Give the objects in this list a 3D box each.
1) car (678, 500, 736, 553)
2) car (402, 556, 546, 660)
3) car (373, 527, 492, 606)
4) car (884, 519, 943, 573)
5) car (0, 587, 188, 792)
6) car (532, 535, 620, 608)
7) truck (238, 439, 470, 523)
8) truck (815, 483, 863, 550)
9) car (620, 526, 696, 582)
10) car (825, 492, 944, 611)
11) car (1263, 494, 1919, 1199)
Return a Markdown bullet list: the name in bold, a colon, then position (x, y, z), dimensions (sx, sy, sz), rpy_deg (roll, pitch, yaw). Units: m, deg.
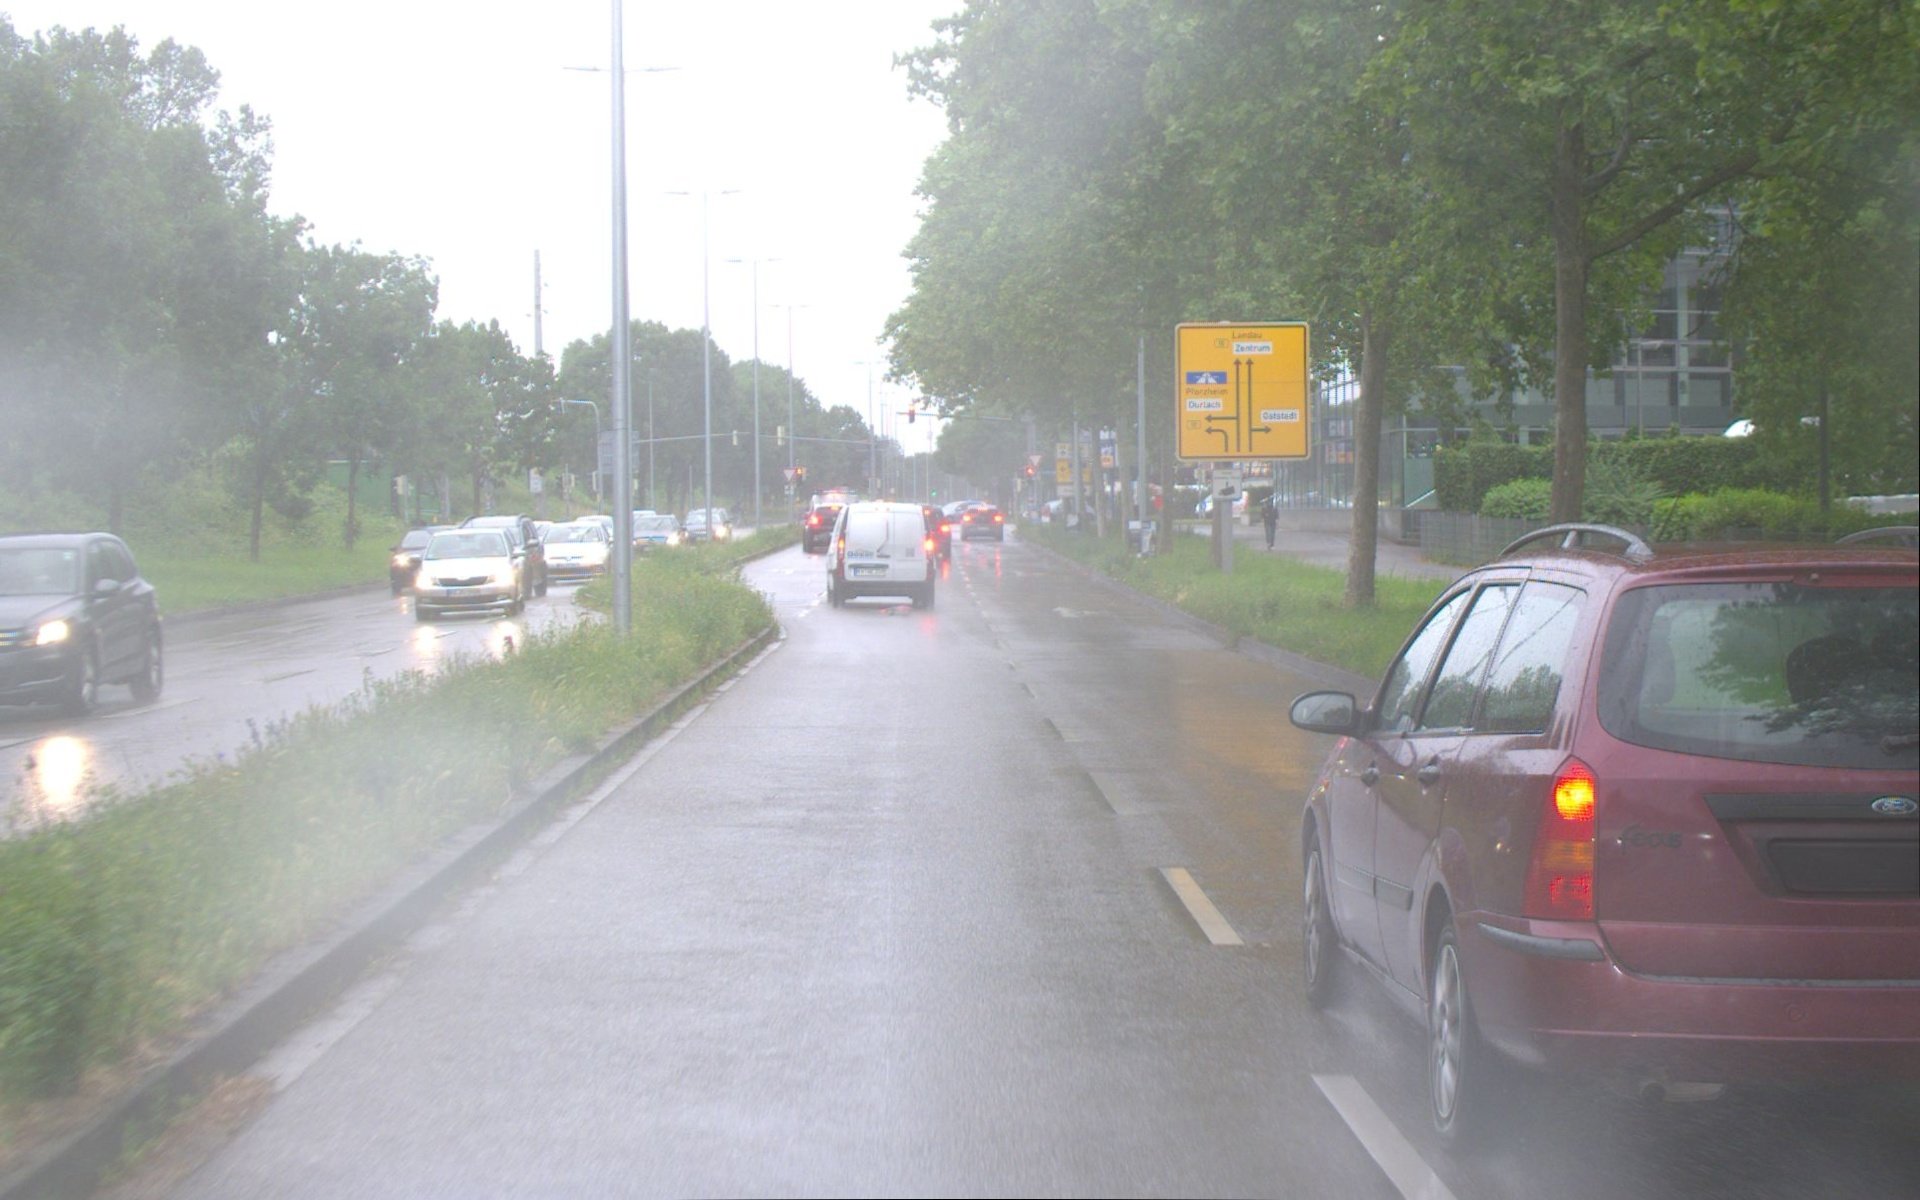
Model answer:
- **car**: position (-9.599, -2.822, 130.789), dimensions (1.824, 1.569, 4.361), rpy_deg (4, 5, -1)
- **car**: position (-8.108, 0.100, 57.708), dimensions (1.898, 1.607, 4.112), rpy_deg (-1, 1, -1)
- **car**: position (-12.113, -0.799, 79.273), dimensions (1.993, 1.682, 4.709), rpy_deg (-2, 2, 0)
- **car**: position (-1.443, -1.679, 105.923), dimensions (1.708, 1.544, 4.001), rpy_deg (0, 2, -2)
- **car**: position (-8.370, 0.771, 30.783), dimensions (1.898, 1.607, 4.112), rpy_deg (-3, 1, 0)
- **car**: position (-9.006, -0.699, 80.903), dimensions (1.908, 1.569, 4.710), rpy_deg (-3, 1, -5)
- **truck**: position (-26.999, -5.253, 153.553), dimensions (10.110, 3.440, 2.658), rpy_deg (0, 0, -37)
- **truck**: position (-4.507, -3.111, 127.981), dimensions (1.756, 2.458, 4.001), rpy_deg (0, 1, -2)
- **car**: position (-9.368, -1.457, 106.930), dimensions (1.908, 1.569, 4.709), rpy_deg (-3, 2, 0)
- **car**: position (-1.345, -0.821, 60.011), dimensions (1.993, 2.007, 4.000), rpy_deg (0, 0, -2)
- **car**: position (1.984, 0.513, 9.302), dimensions (1.839, 1.531, 4.112), rpy_deg (1, 1, -2)
